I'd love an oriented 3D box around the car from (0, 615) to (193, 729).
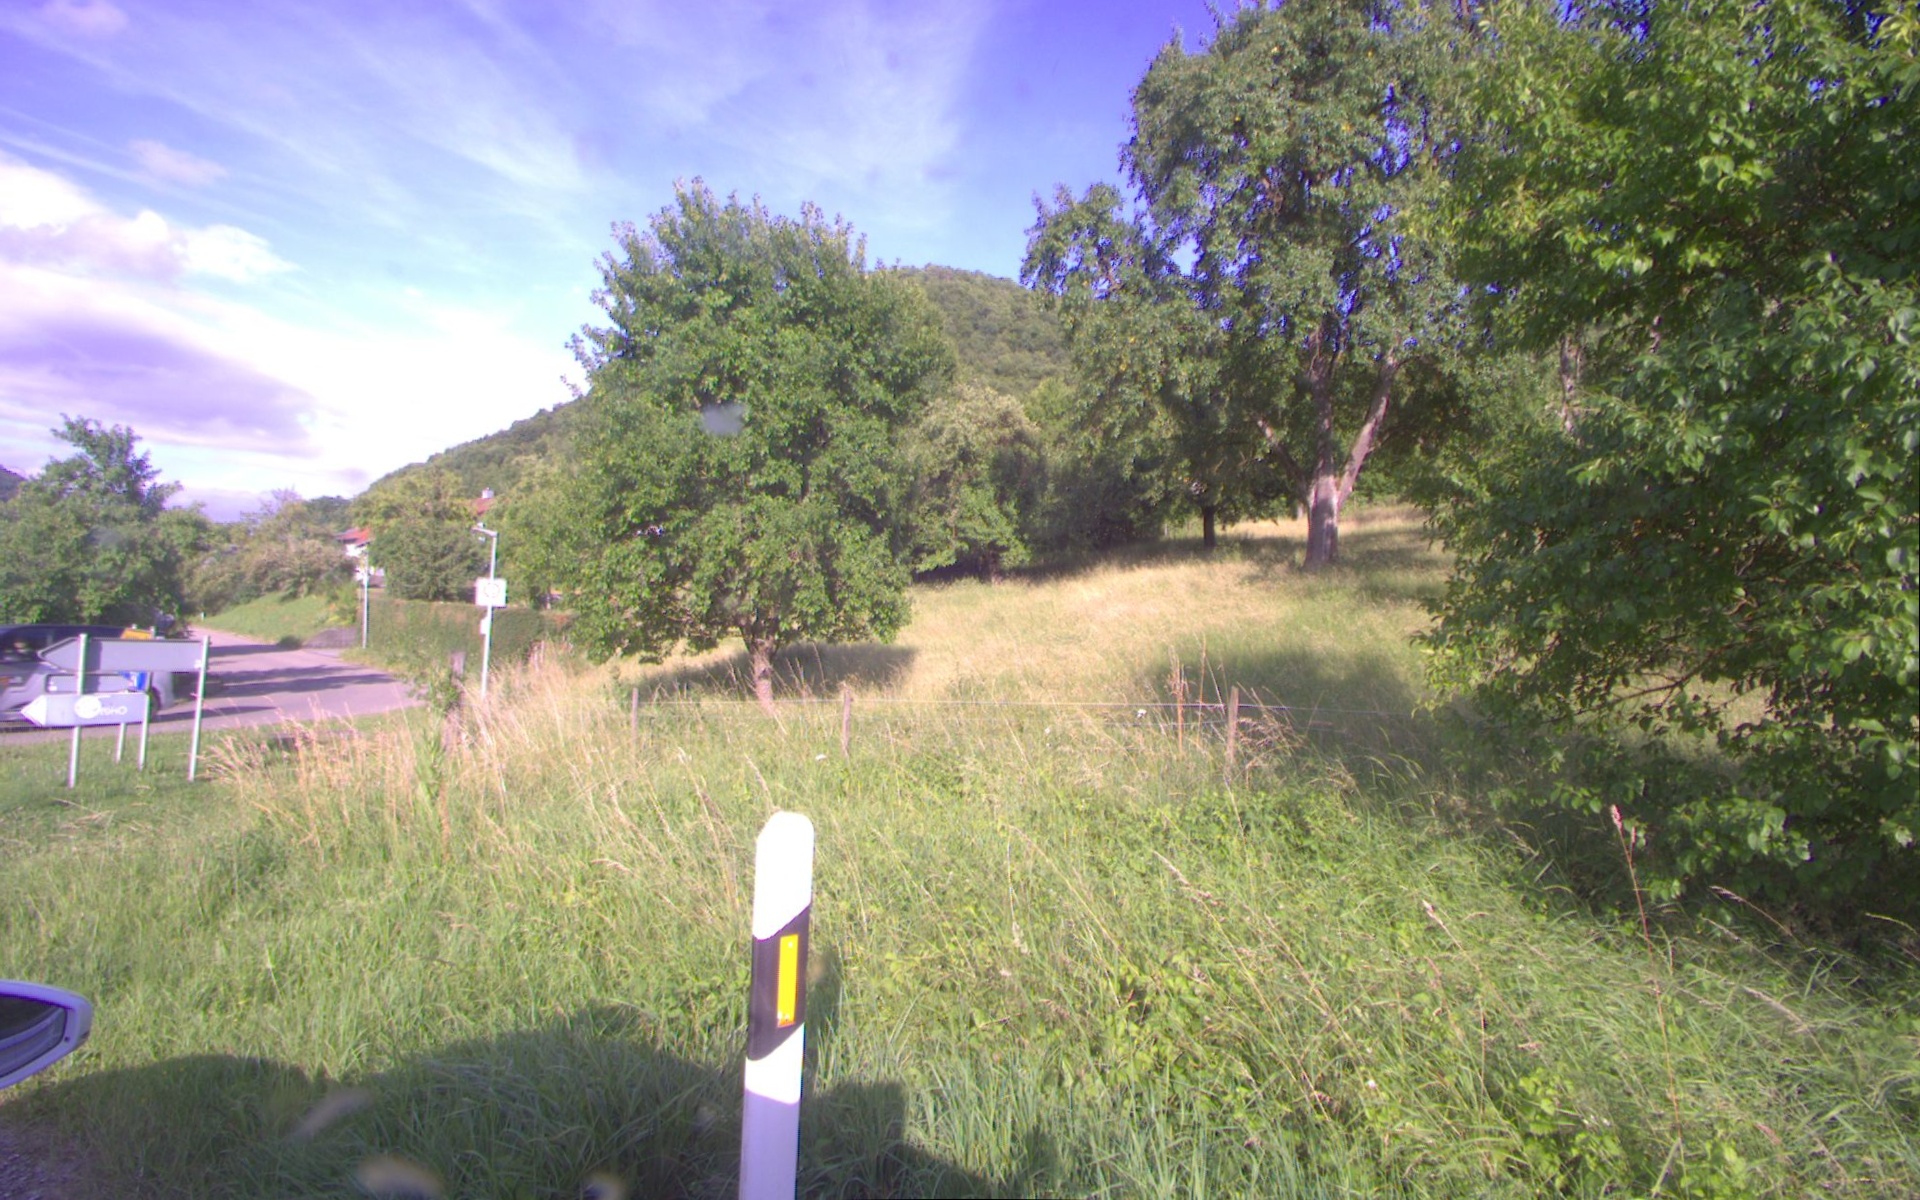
[{"bbox_3d":[-16.924,1.240,18.051,1.961,1.900,4.873,2,-3,8],"label":"car"}]
